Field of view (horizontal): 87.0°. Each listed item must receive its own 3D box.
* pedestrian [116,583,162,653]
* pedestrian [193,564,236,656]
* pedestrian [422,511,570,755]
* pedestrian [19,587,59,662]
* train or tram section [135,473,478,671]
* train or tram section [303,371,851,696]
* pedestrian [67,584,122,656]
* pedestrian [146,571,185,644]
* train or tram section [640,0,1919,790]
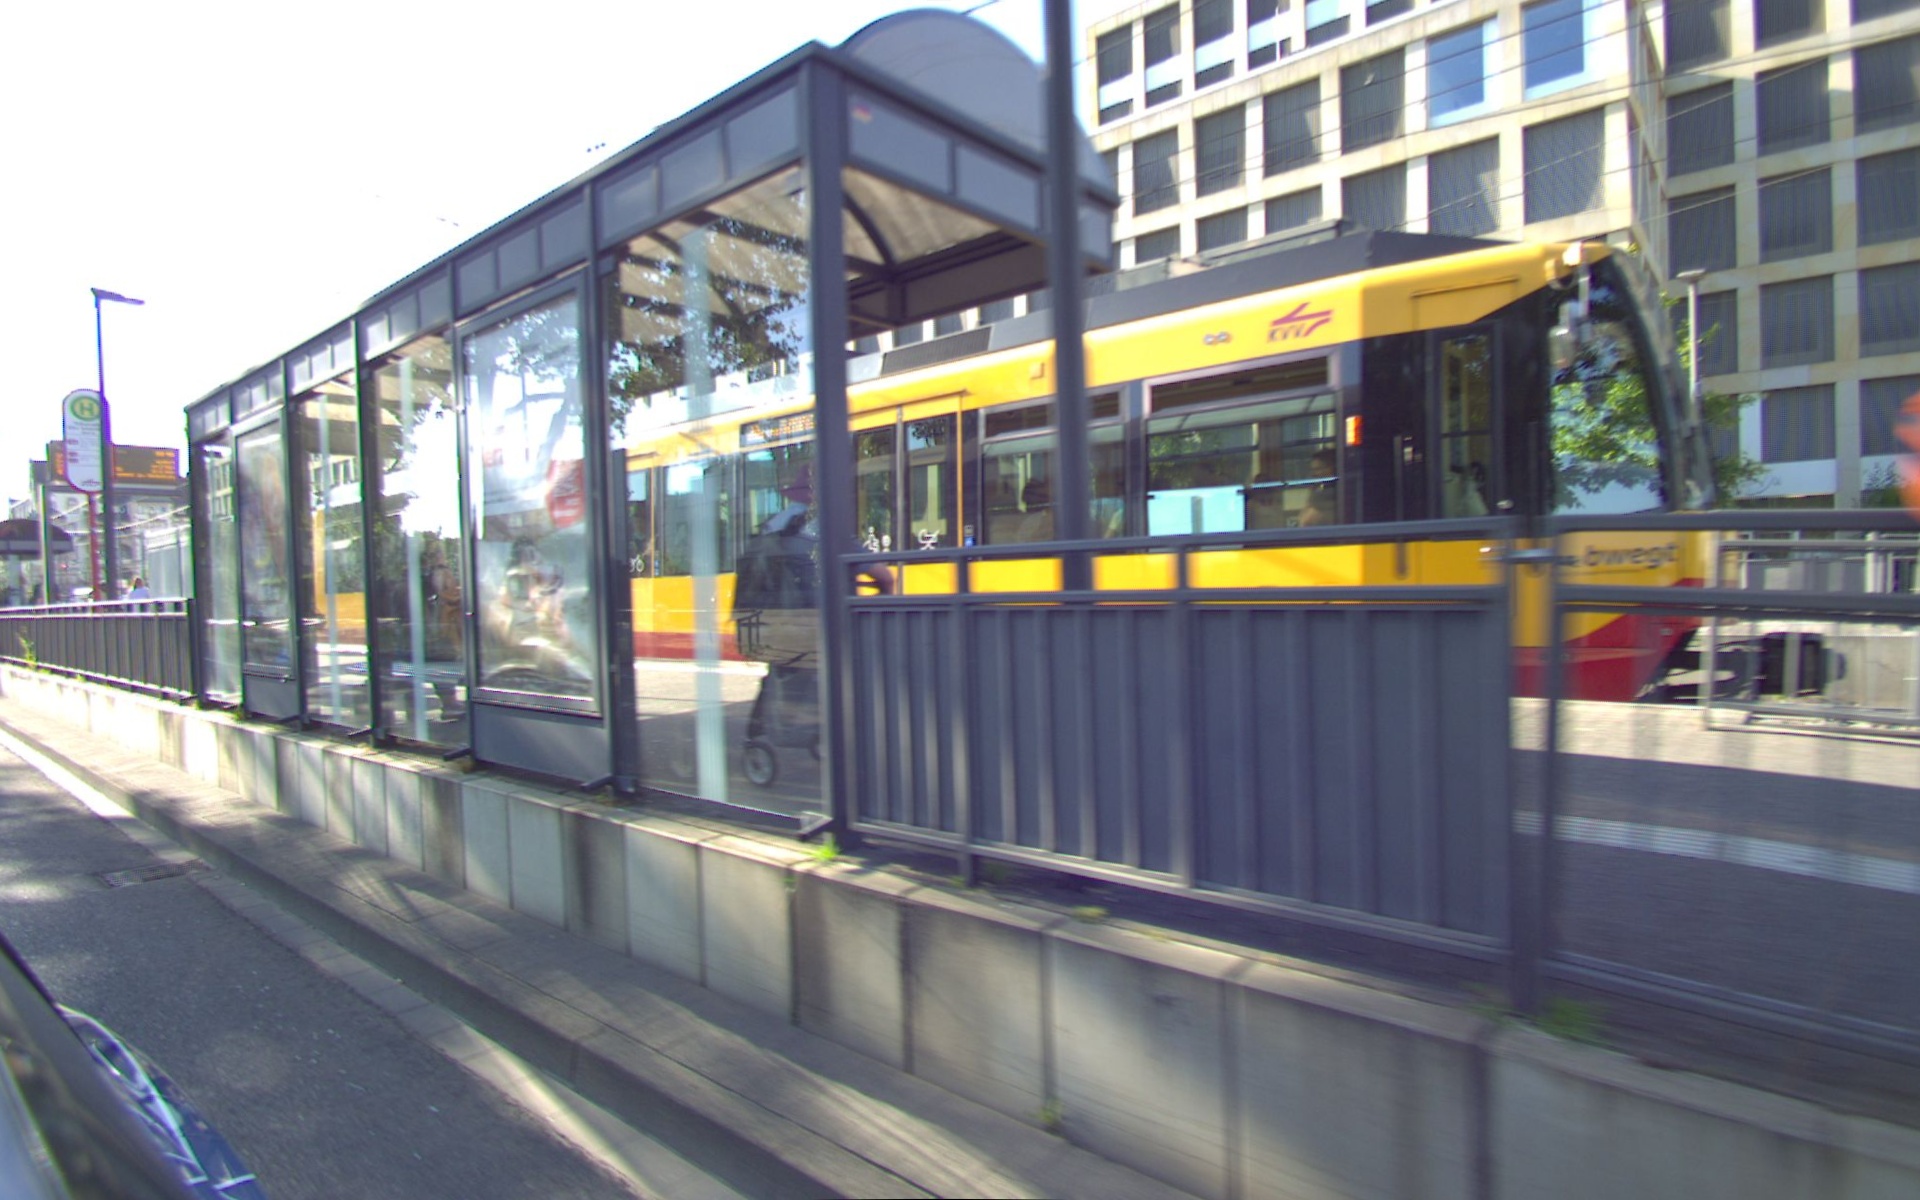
[{"bbox_3d":[-21.524,0.458,26.533,0.625,1.797,0.785,-1,1,41],"label":"pedestrian"},{"bbox_3d":[-15.919,0.204,21.603,0.644,1.919,0.547,-1,1,41],"label":"pedestrian"},{"bbox_3d":[-2.637,0.167,5.762,0.500,1.302,0.561,-1,1,40],"label":"pedestrian"},{"bbox_3d":[-22.697,0.598,24.934,0.681,1.797,0.603,-1,1,41],"label":"pedestrian"},{"bbox_3d":[-17.097,-0.496,25.610,14.209,3.858,3.276,-1,1,41],"label":"train or tram section"},{"bbox_3d":[-7.170,-0.748,17.101,11.835,3.858,3.276,-1,1,41],"label":"train or tram section"},{"bbox_3d":[-22.074,0.498,25.830,0.640,1.797,0.795,-2,1,1],"label":"pedestrian"},{"bbox_3d":[-20.234,0.189,25.774,0.774,1.797,0.605,-1,1,41],"label":"pedestrian"},{"bbox_3d":[1.825,-0.989,9.382,11.835,3.858,3.276,-1,1,41],"label":"train or tram section"}]
